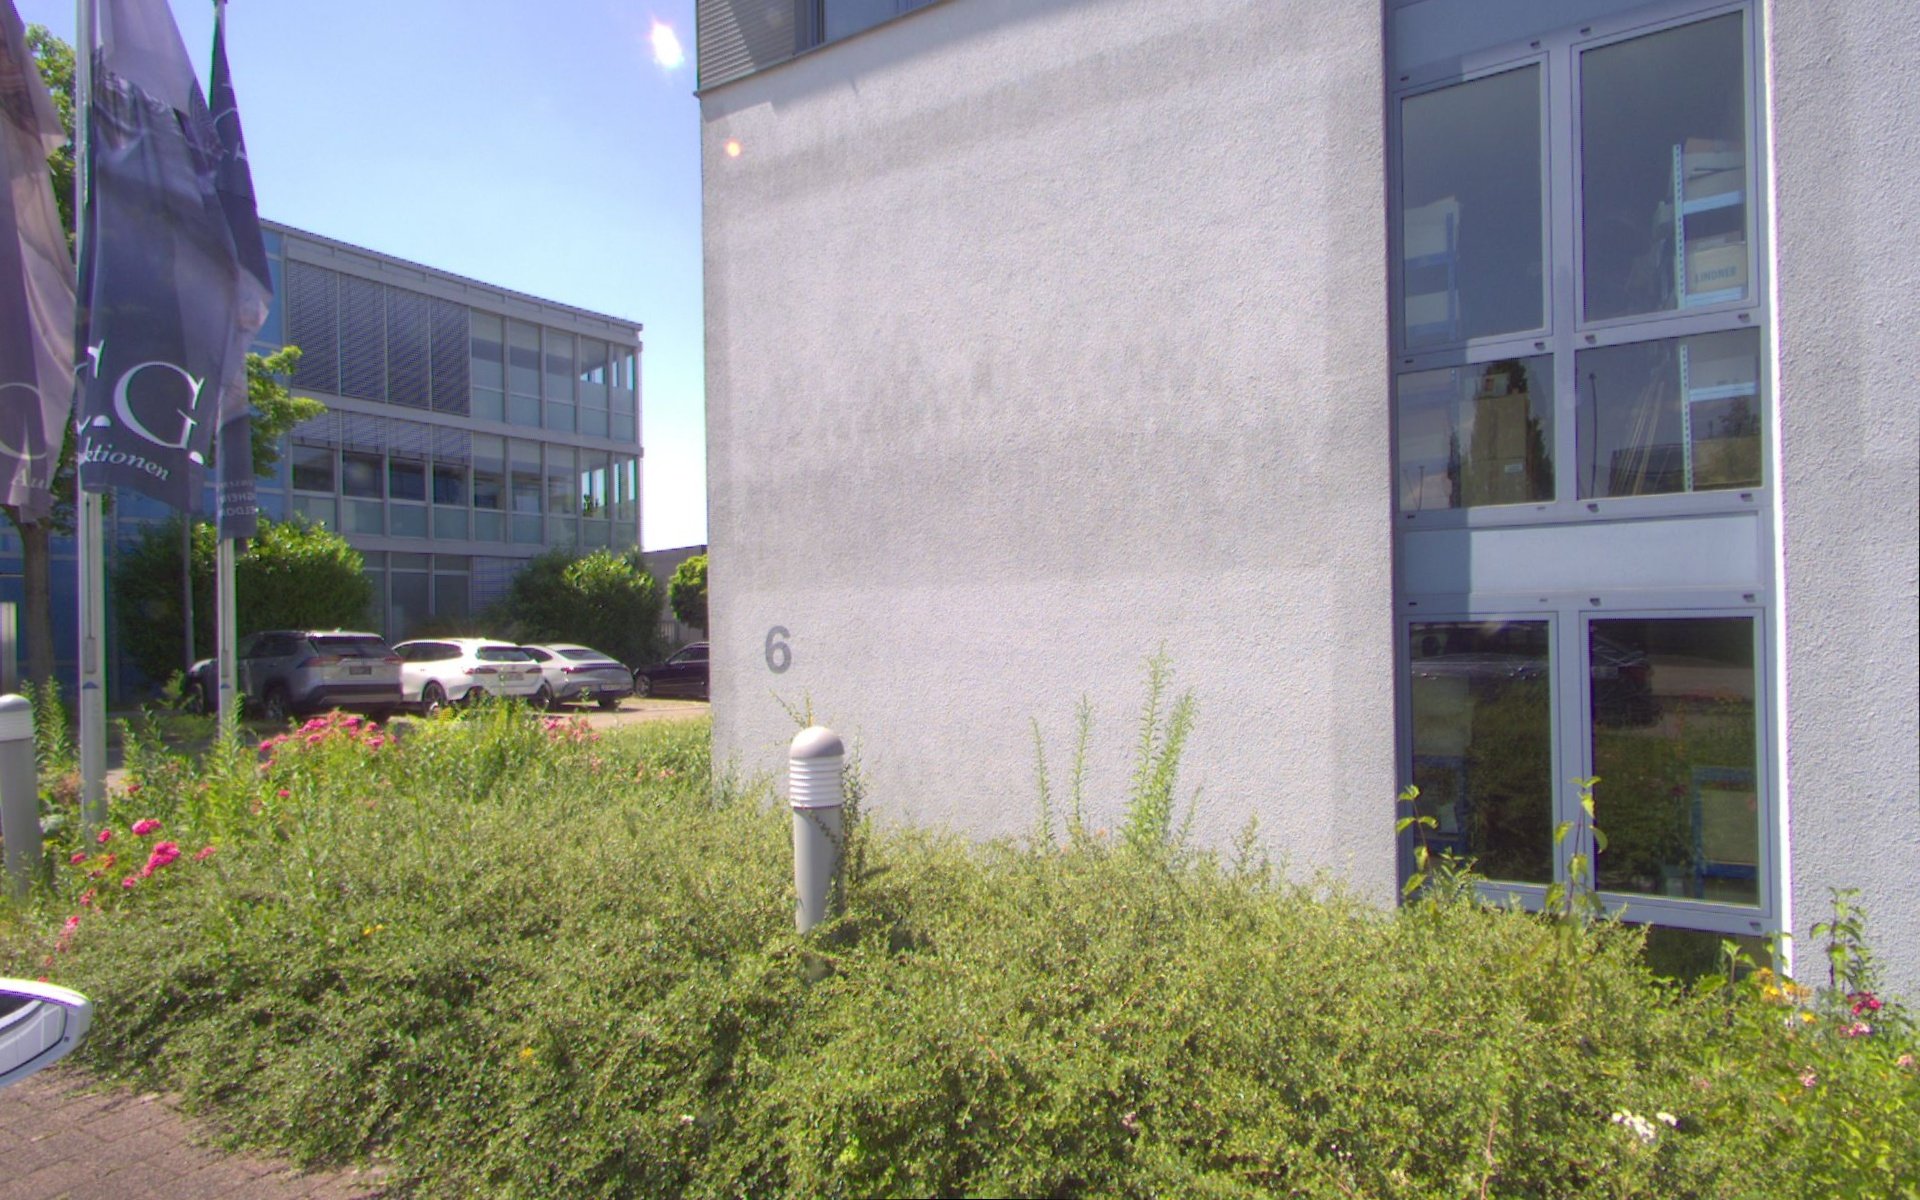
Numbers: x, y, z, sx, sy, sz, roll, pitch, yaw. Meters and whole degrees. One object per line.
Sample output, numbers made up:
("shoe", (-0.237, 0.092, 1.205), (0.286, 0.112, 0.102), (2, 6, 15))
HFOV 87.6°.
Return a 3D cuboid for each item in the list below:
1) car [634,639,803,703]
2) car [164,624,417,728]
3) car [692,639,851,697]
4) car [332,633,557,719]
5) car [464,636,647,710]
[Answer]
("car", (-6.324, 1.790, 26.014), (4.487, 1.465, 1.732), (-1, -3, 35))
("car", (-11.958, 1.268, 17.863), (4.269, 1.640, 1.820), (0, -1, 25))
("car", (-5.357, 1.874, 28.223), (4.487, 1.465, 1.732), (-1, -3, 35))
("car", (-10.322, 1.458, 20.021), (4.269, 1.510, 1.737), (0, -2, 25))
("car", (-9.101, 1.575, 22.424), (4.281, 1.447, 1.732), (-1, -3, 35))
